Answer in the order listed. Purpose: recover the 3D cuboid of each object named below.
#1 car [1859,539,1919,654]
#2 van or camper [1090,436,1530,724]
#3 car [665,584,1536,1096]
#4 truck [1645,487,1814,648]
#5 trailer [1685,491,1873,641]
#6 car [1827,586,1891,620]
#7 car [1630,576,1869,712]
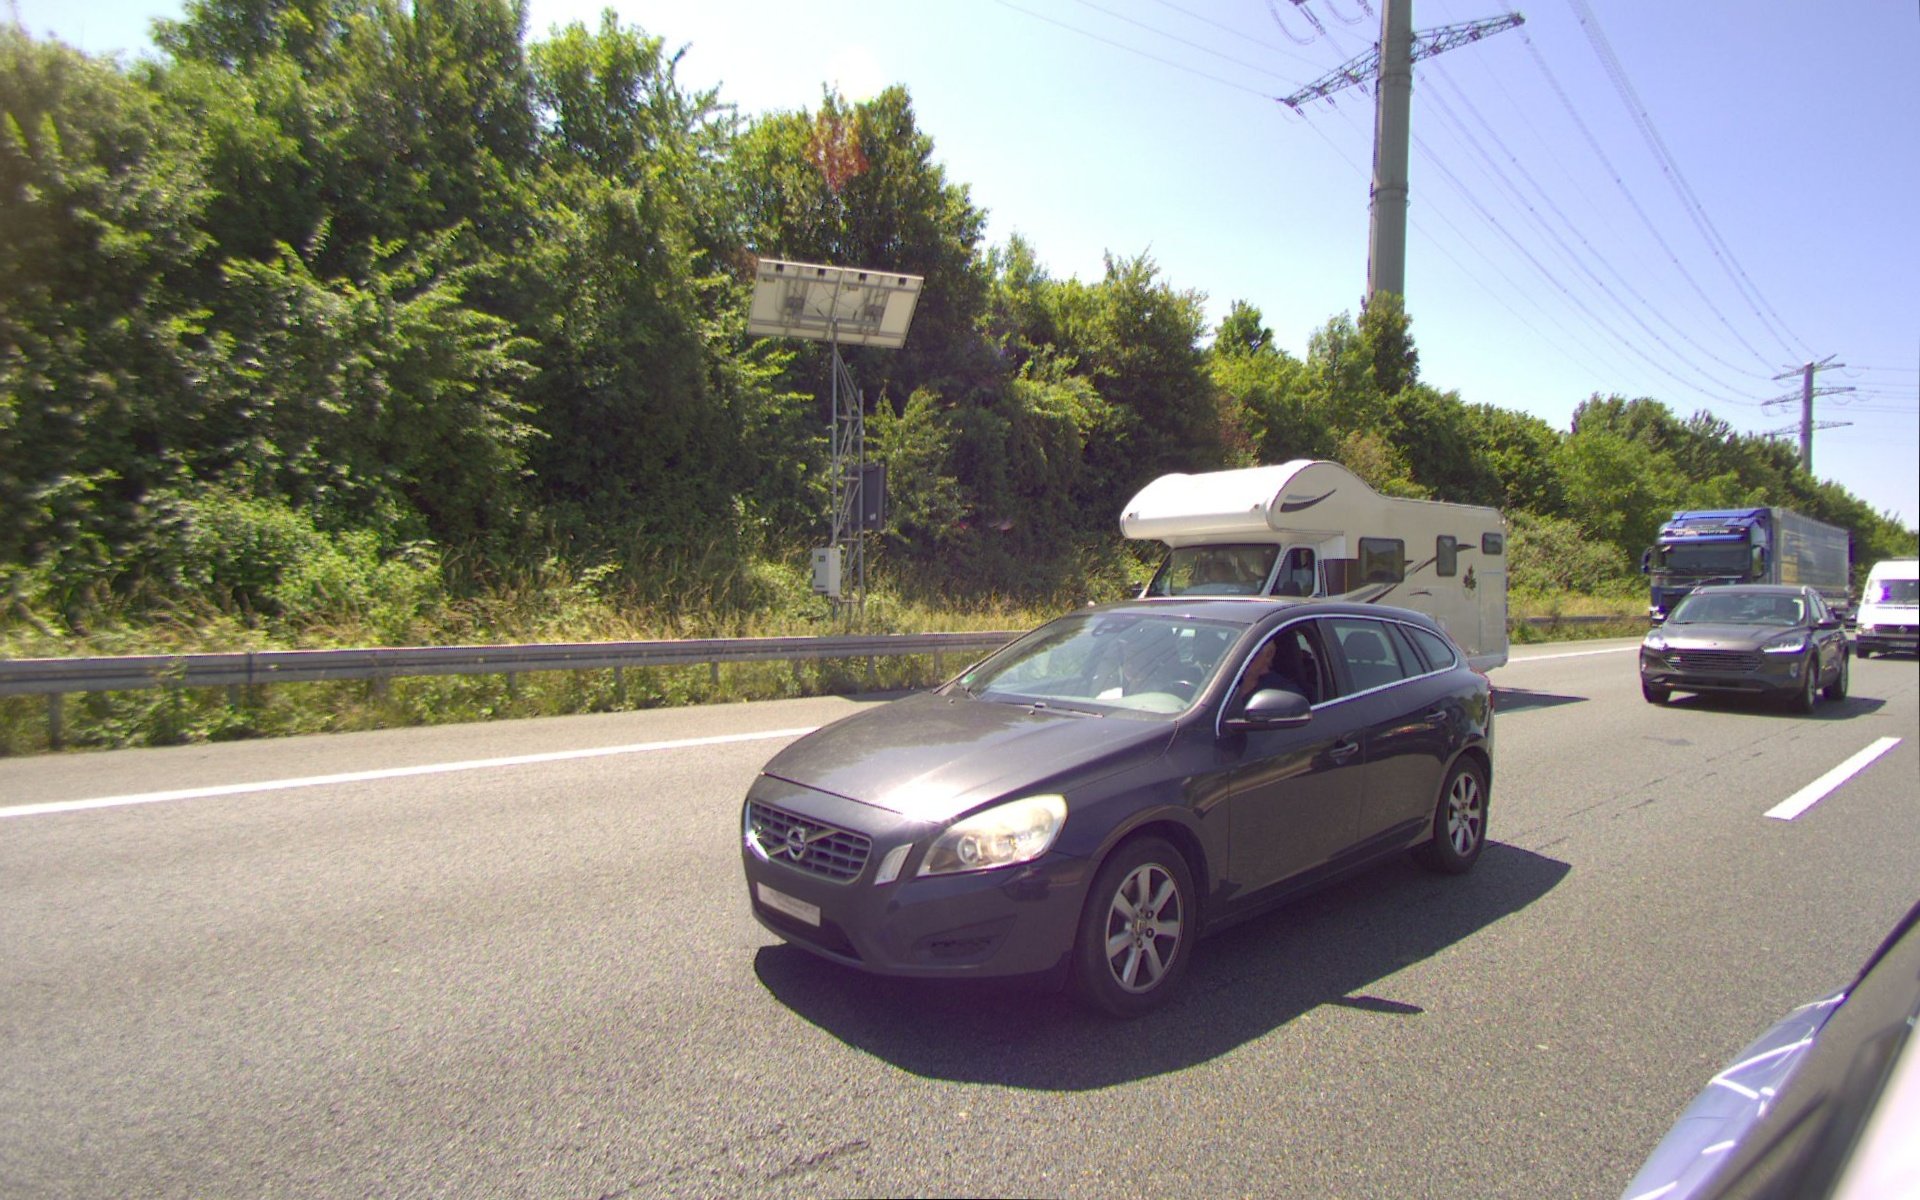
[{"bbox_3d":[25.341,-0.120,26.368,6.589,2.753,2.041,-1,0,-41],"label":"car"},{"bbox_3d":[5.237,-0.250,14.188,7.498,3.082,2.373,-1,0,-41],"label":"van or camper"},{"bbox_3d":[1.022,0.650,4.988,4.431,1.437,1.798,-1,0,-41],"label":"car"},{"bbox_3d":[22.377,-0.880,29.342,5.538,4.197,2.790,-1,0,-41],"label":"truck"},{"bbox_3d":[28.076,-1.049,34.332,12.654,4.317,2.772,-1,0,-41],"label":"trailer"},{"bbox_3d":[42.228,0.126,47.498,3.806,1.538,1.719,-1,0,-40],"label":"car"},{"bbox_3d":[11.182,0.511,14.241,4.146,1.631,1.892,-1,0,-41],"label":"car"}]
